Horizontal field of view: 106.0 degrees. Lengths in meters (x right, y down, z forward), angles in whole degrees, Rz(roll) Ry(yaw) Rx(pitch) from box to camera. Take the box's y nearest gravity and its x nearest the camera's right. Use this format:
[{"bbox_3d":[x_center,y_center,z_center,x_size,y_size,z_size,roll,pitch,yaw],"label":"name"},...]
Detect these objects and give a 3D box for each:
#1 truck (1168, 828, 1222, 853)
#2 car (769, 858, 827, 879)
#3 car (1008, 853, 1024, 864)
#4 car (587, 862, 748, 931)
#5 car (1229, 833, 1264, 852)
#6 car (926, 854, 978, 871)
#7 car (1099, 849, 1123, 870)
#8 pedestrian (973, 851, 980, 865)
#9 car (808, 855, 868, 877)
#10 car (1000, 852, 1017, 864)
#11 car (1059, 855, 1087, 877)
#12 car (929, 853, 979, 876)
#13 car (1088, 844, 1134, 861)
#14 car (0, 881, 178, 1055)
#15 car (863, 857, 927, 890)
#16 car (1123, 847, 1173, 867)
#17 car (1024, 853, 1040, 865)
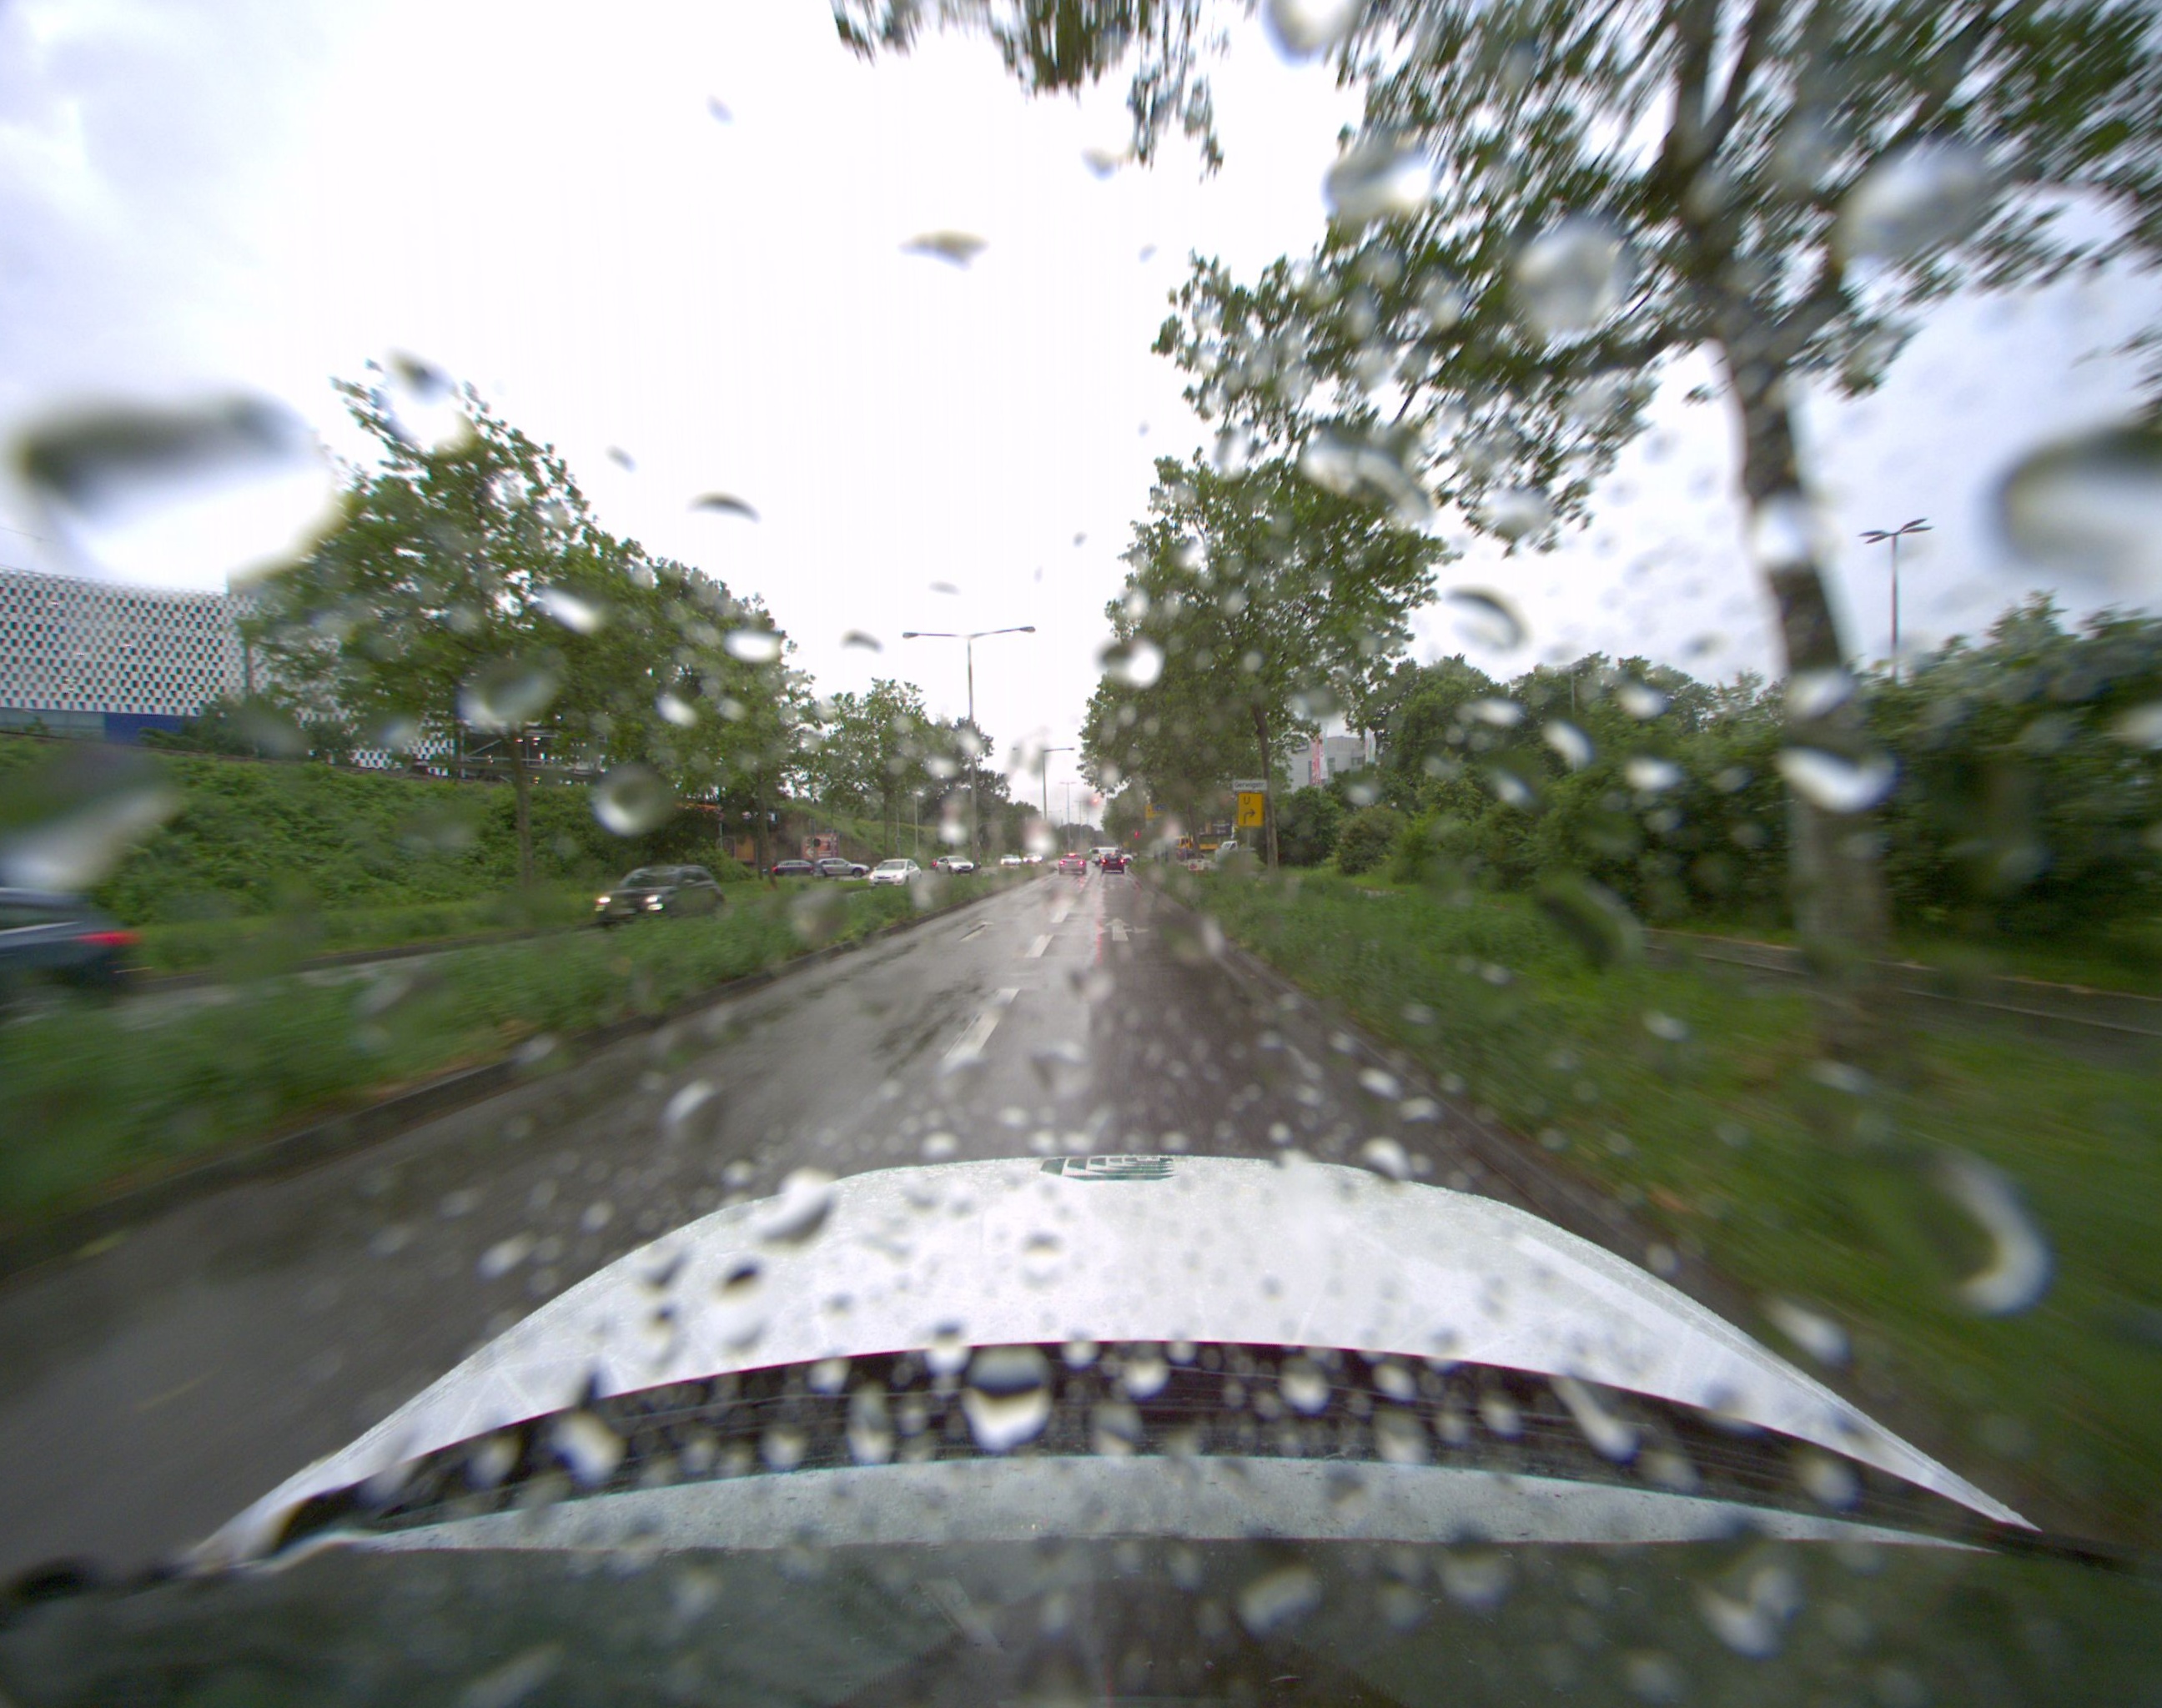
[{"bbox_3d":[15.089,-1.801,107.783,7.079,3.054,2.618,-2,0,-35],"label":"truck"},{"bbox_3d":[-23.899,1.201,68.760,4.397,1.537,1.786,-2,0,-27],"label":"car"},{"bbox_3d":[-9.263,0.585,115.746,1.706,1.530,4.002,-2,0,2],"label":"car"},{"bbox_3d":[-9.893,0.956,19.844,1.924,1.445,3.709,-1,0,2],"label":"car"},{"bbox_3d":[21.670,-1.556,106.517,4.404,2.190,1.783,-4,1,-33],"label":"car"},{"bbox_3d":[-11.984,0.760,75.537,4.397,1.537,1.786,-1,0,-27],"label":"car"},{"bbox_3d":[2.305,0.438,61.941,1.789,1.537,4.389,0,0,2],"label":"car"},{"bbox_3d":[-12.854,0.484,100.140,0.528,1.786,0.676,0,-1,19],"label":"pedestrian"},{"bbox_3d":[-19.455,0.980,65.356,4.514,1.589,1.852,-2,0,-17],"label":"car"},{"bbox_3d":[-9.690,0.530,109.214,1.706,1.530,4.002,-2,0,2],"label":"car"},{"bbox_3d":[-0.532,0.837,57.545,1.683,1.433,4.576,-1,0,2],"label":"car"},{"bbox_3d":[-9.476,0.770,60.719,1.871,1.589,4.469,-2,0,-35],"label":"car"},{"bbox_3d":[3.101,-0.157,83.196,4.397,1.537,1.786,-2,0,-27],"label":"car"},{"bbox_3d":[-10.250,1.018,6.067,1.923,1.445,4.498,-1,0,2],"label":"car"},{"bbox_3d":[-9.036,0.897,40.027,1.923,1.445,4.659,-1,0,2],"label":"car"},{"bbox_3d":[6.075,0.222,73.790,4.409,1.537,1.782,-4,3,-38],"label":"car"},{"bbox_3d":[-6.583,0.611,110.338,1.706,1.530,4.002,-2,0,2],"label":"car"}]
